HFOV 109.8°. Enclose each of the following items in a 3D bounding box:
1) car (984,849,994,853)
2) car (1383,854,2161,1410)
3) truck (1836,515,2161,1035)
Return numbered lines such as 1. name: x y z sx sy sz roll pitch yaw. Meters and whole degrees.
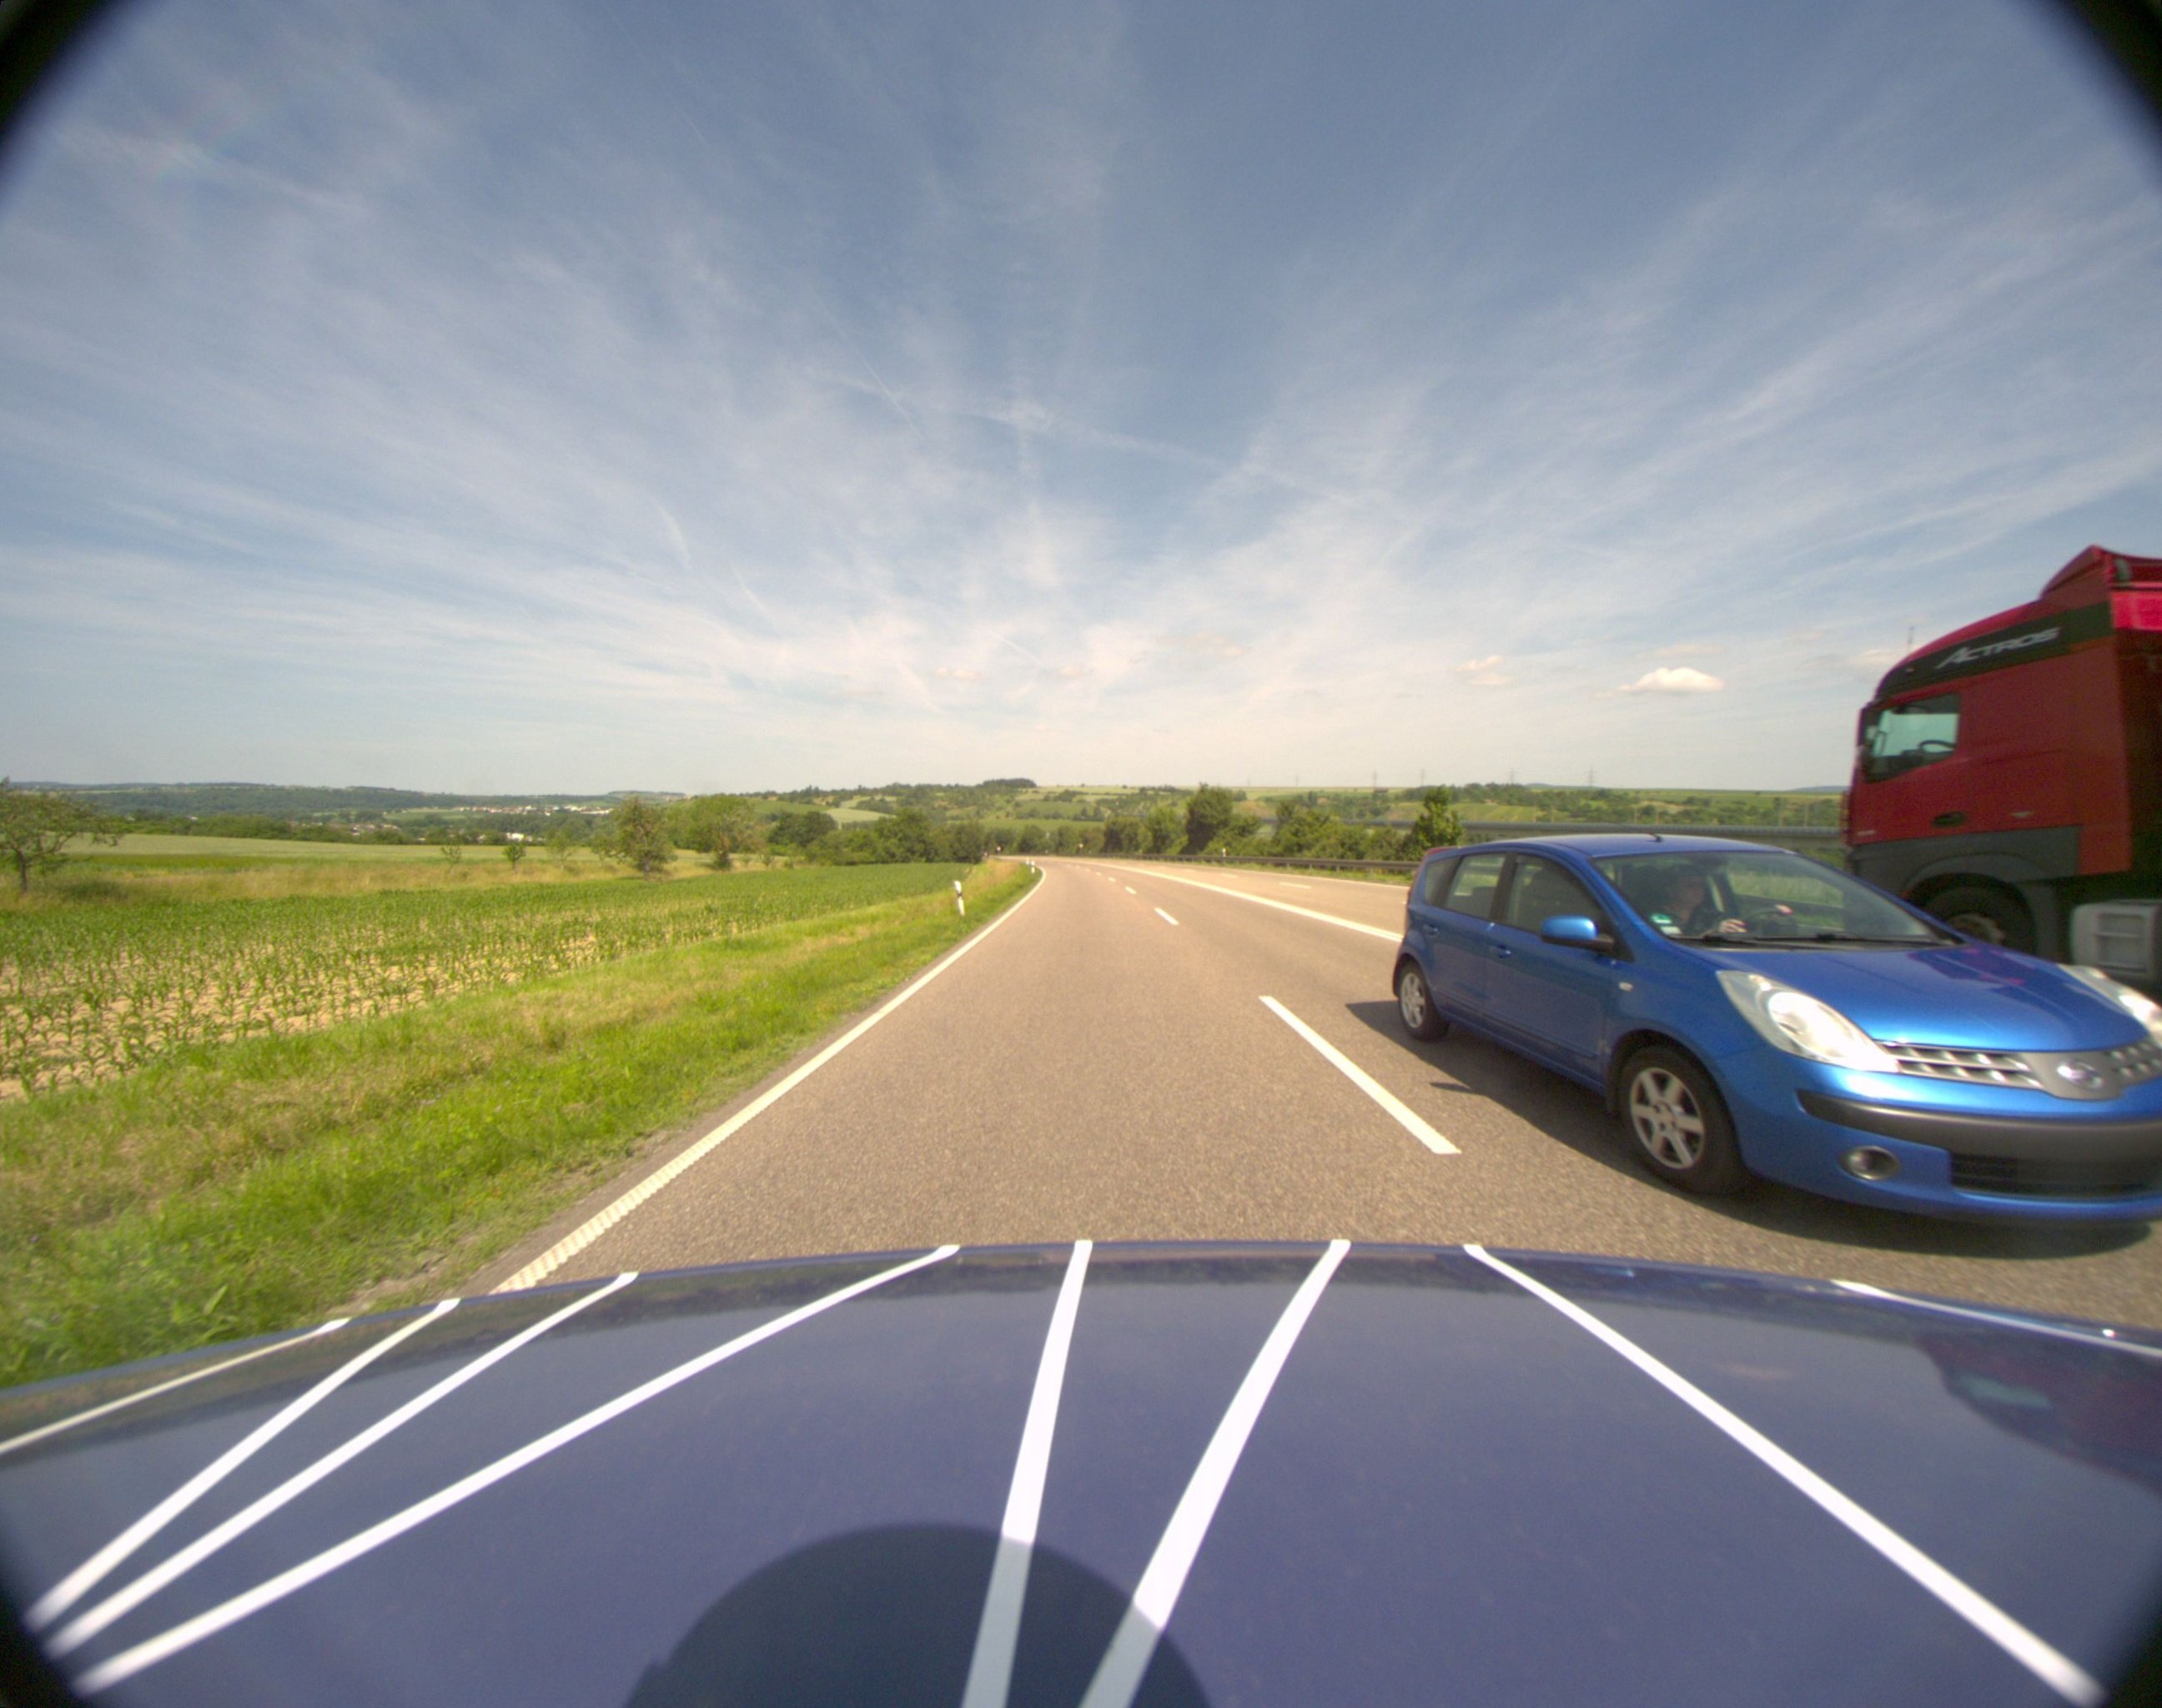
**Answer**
1. car: -27.878 -0.905 229.131 1.844 1.447 4.317 -1 1 -23
2. car: 3.261 0.800 4.138 1.636 1.522 3.914 -2 1 0
3. truck: 9.785 -0.623 5.516 2.623 4.078 6.088 0 1 2
